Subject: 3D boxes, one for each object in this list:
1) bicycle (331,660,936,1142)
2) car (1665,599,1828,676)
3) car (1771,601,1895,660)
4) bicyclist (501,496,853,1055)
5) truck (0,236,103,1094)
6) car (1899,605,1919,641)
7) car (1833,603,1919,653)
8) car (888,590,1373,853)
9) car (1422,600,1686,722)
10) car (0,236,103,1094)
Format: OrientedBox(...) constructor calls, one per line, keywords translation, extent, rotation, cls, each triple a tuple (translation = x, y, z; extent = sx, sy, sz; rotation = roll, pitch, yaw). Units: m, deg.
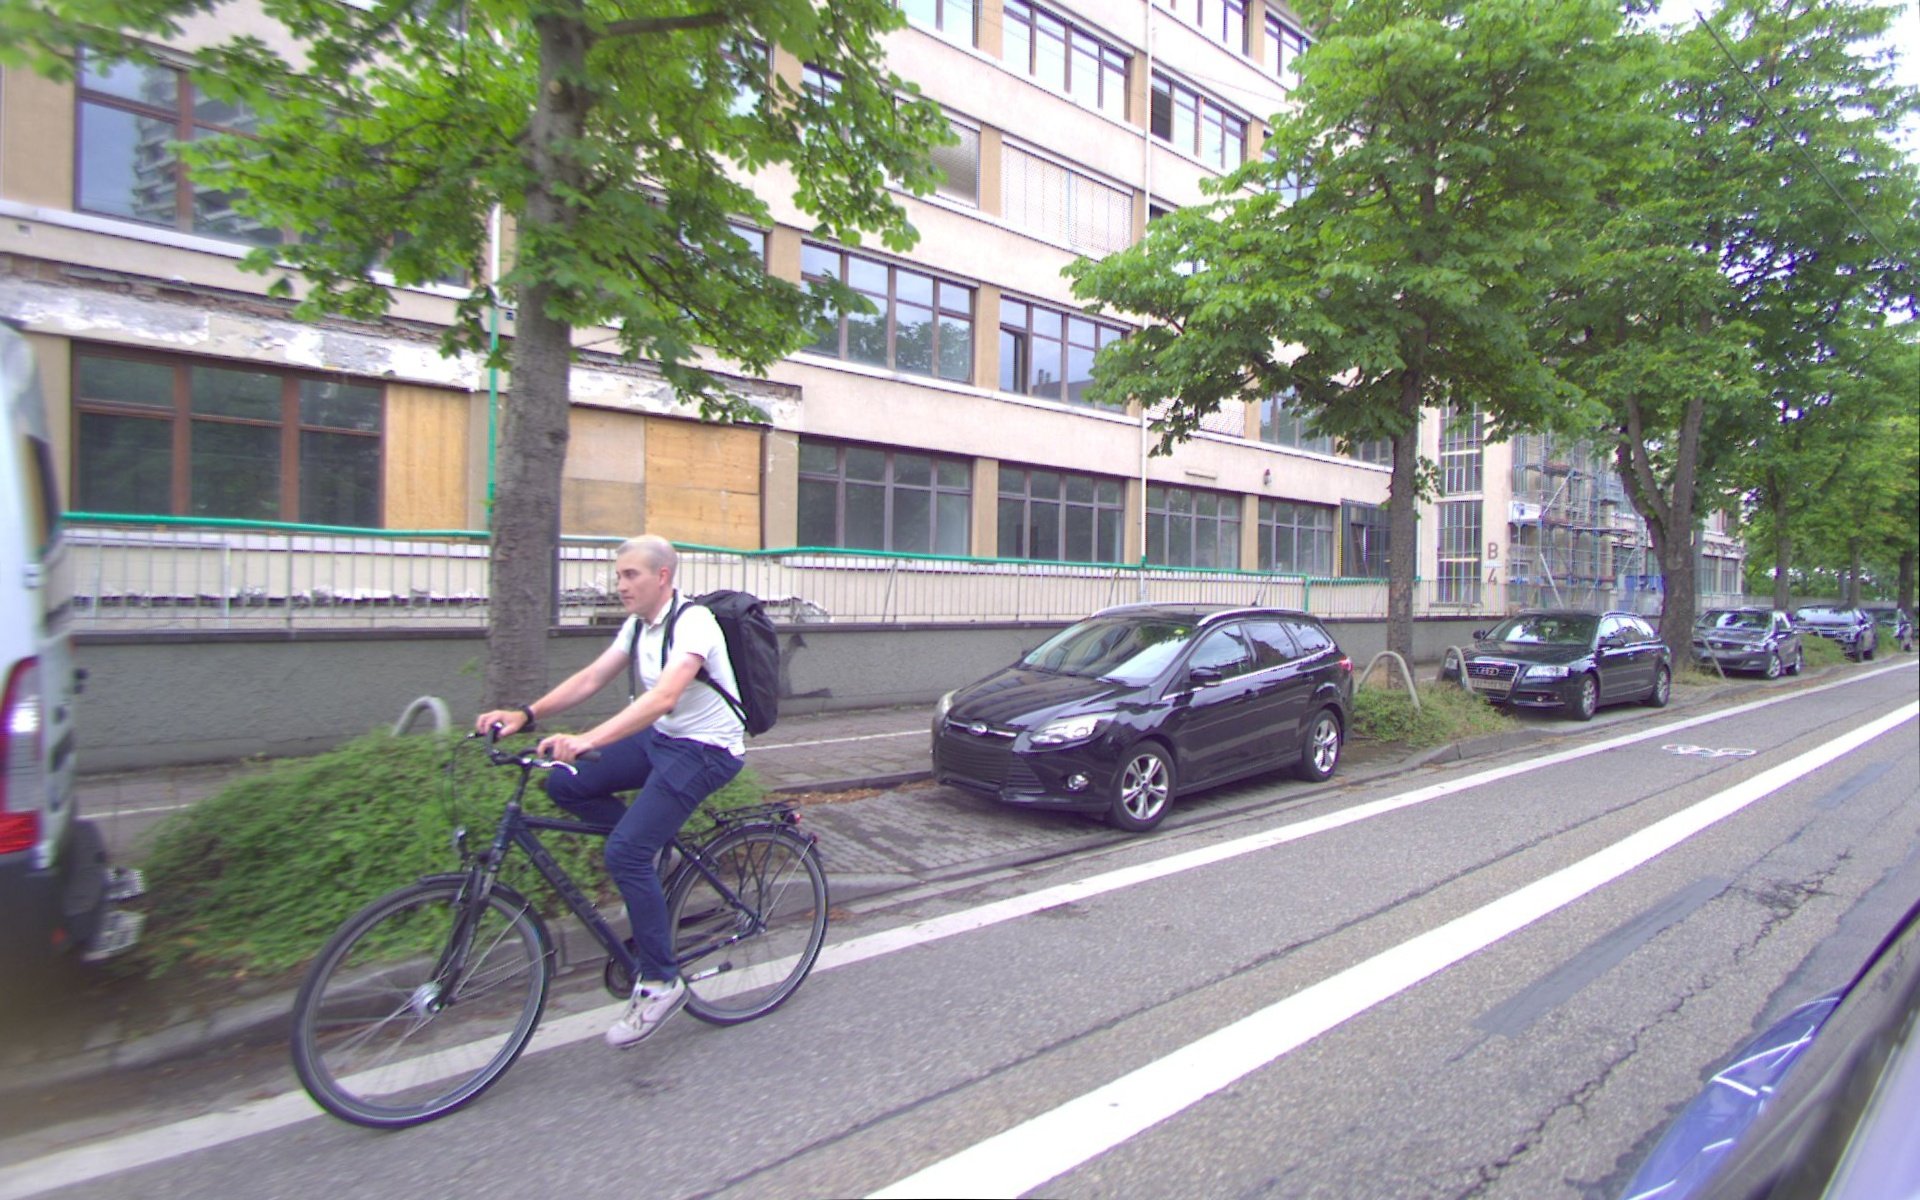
OrientedBox(translation=(-0.996, 0.809, 3.420), extent=(1.833, 1.131, 0.665), rotation=(1, -2, -41), cls="bicycle")
OrientedBox(translation=(17.054, 0.735, 21.881), extent=(4.316, 1.479, 1.997), rotation=(0, 0, -41), cls="car")
OrientedBox(translation=(24.079, 0.778, 27.862), extent=(4.316, 1.479, 1.997), rotation=(0, 0, -41), cls="car")
OrientedBox(translation=(-0.952, 0.497, 3.452), extent=(0.968, 1.589, 0.663), rotation=(1, -1, -41), cls="bicyclist")
OrientedBox(translation=(-5.473, 0.190, 2.240), extent=(5.397, 2.635, 2.115), rotation=(0, 0, -42), cls="truck")
OrientedBox(translation=(41.129, 0.961, 42.533), extent=(4.316, 1.479, 1.997), rotation=(0, 0, -41), cls="car")
OrientedBox(translation=(30.130, 0.857, 32.949), extent=(4.316, 1.479, 1.997), rotation=(0, 0, -41), cls="car")
OrientedBox(translation=(1.556, 0.719, 8.210), extent=(4.039, 1.518, 1.822), rotation=(-1, 3, -44), cls="car")
OrientedBox(translation=(8.598, 0.743, 14.507), extent=(4.316, 1.479, 1.997), rotation=(0, 0, -41), cls="car")
OrientedBox(translation=(-5.473, 0.190, 2.240), extent=(5.397, 2.635, 2.115), rotation=(0, 0, -42), cls="car")
